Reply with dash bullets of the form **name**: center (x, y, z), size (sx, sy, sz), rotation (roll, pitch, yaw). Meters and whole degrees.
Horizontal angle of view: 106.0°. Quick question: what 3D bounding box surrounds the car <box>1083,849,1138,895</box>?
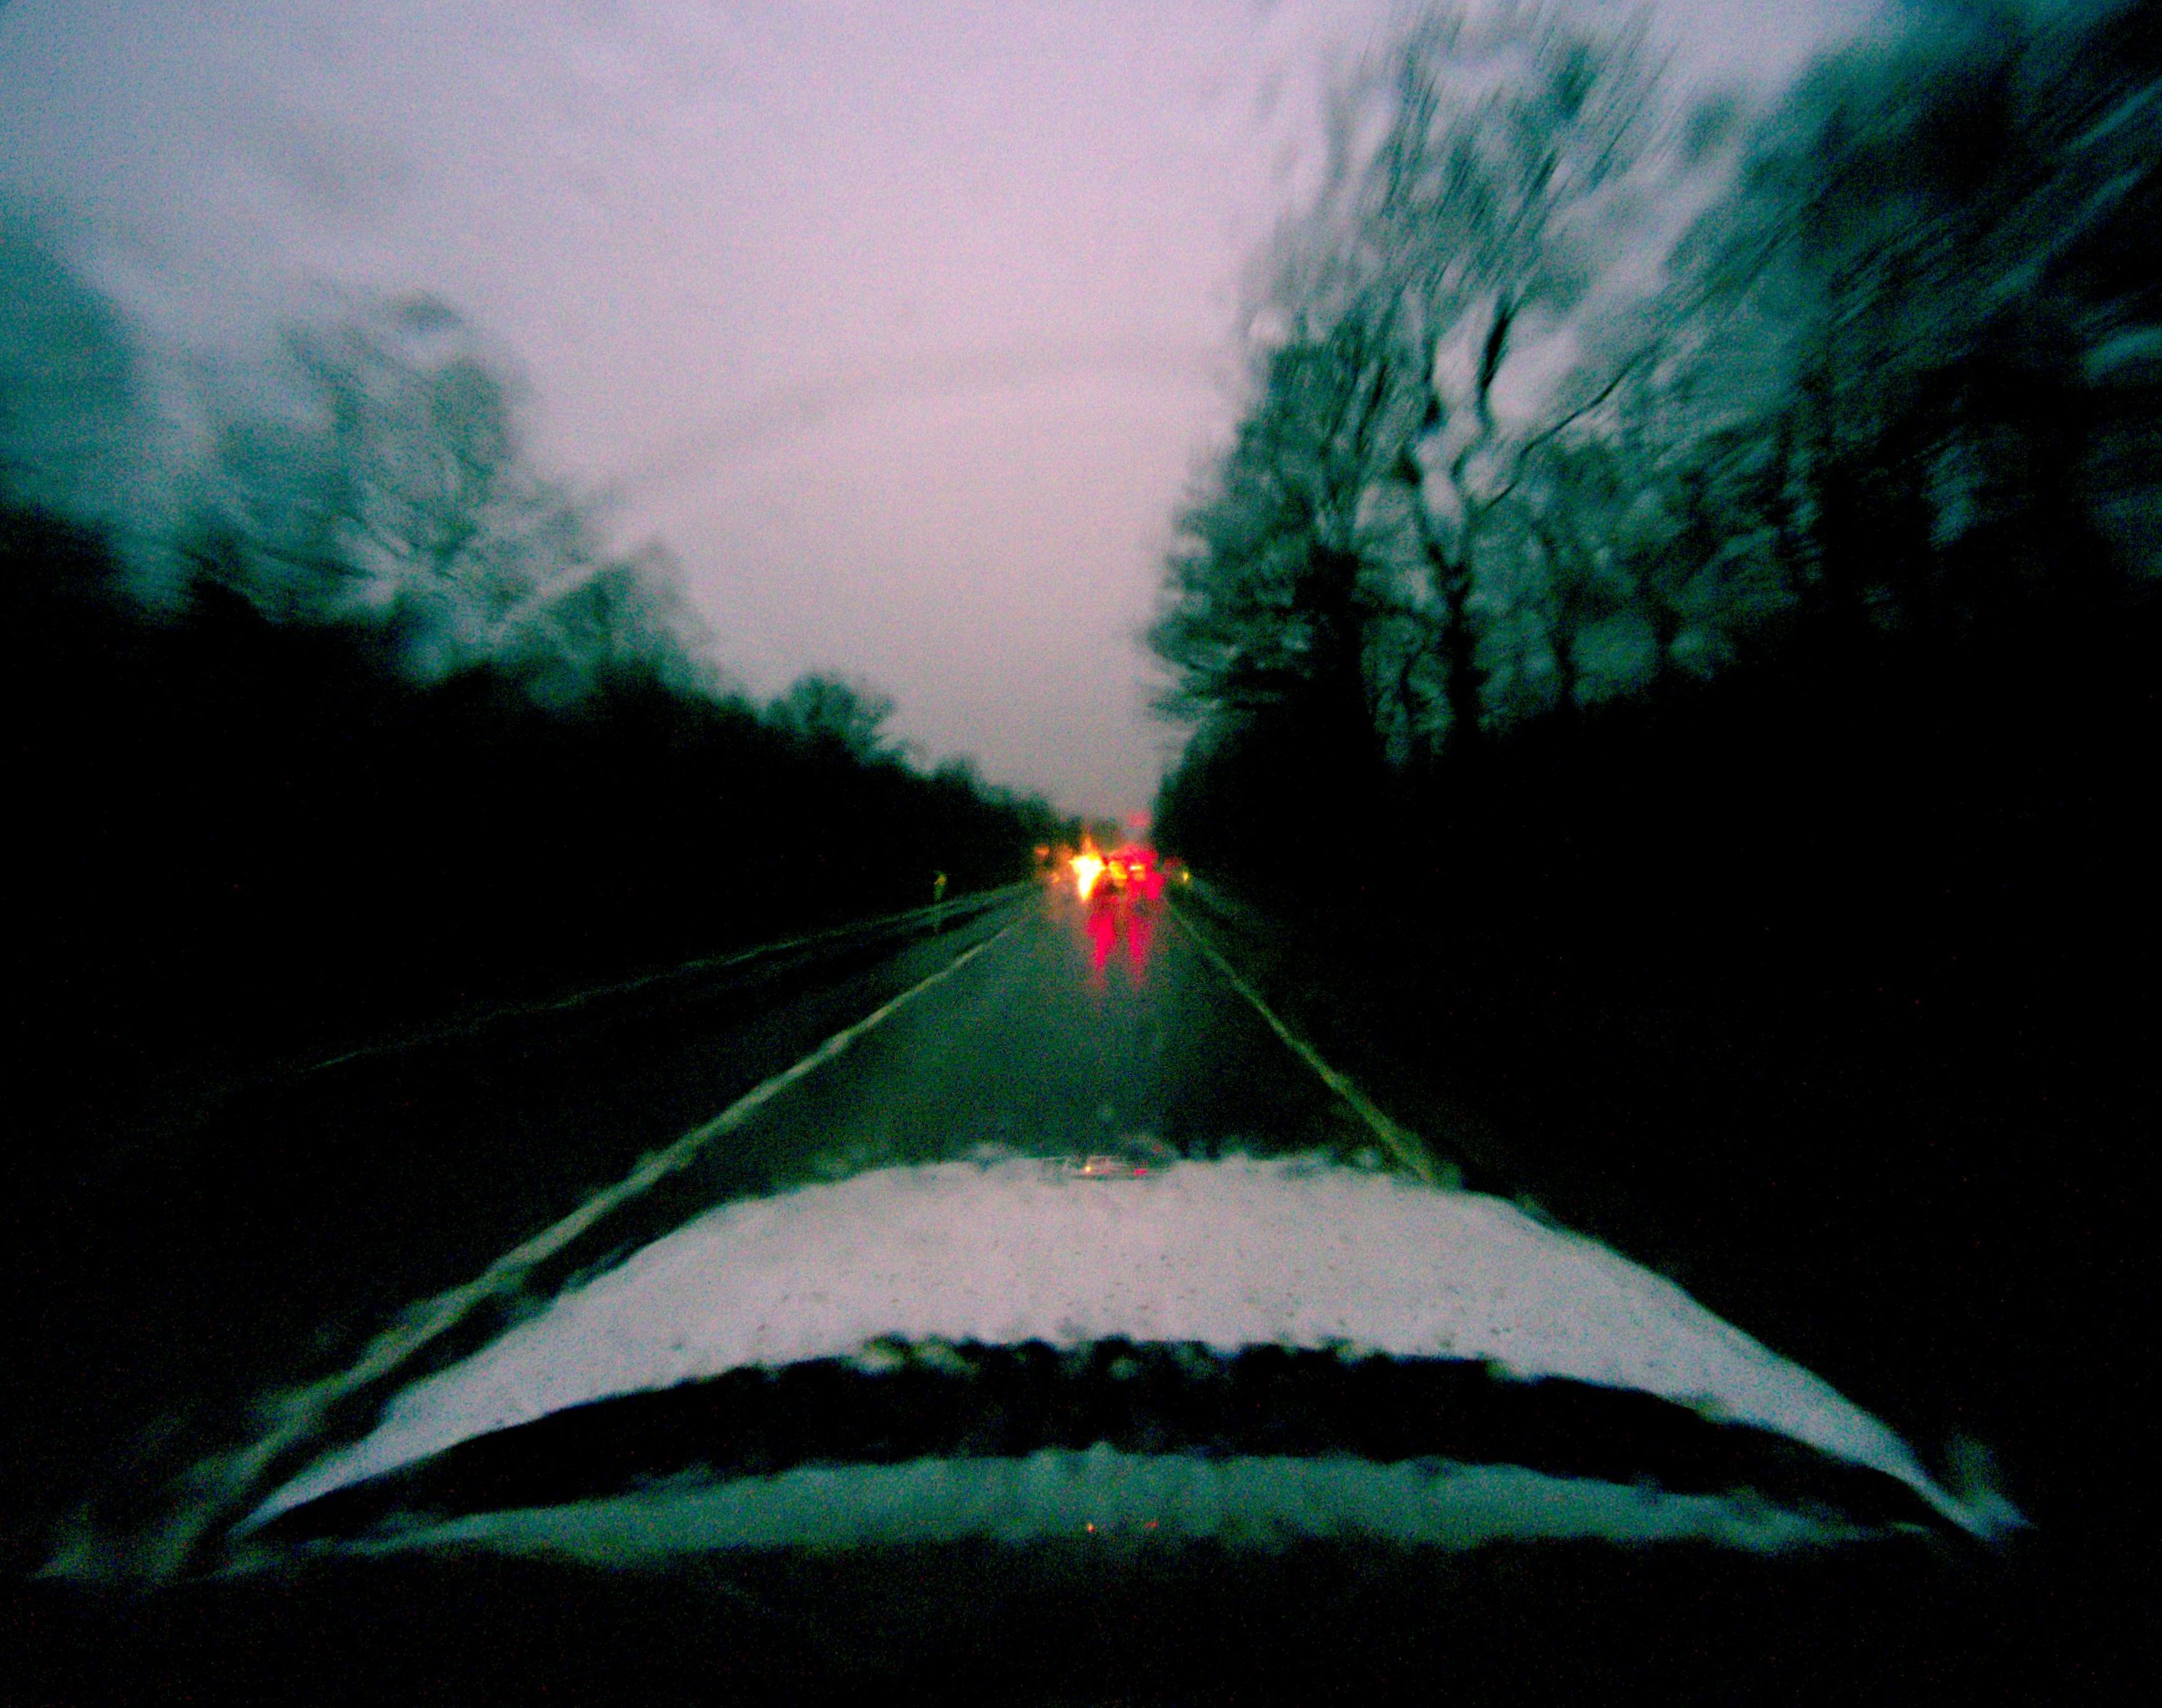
- **car**: center (1.041, 0.575, 27.481), size (1.671, 1.389, 4.102), rotation (-1, 0, 3)

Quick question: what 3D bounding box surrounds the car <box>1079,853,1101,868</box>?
- **car**: center (0.889, 0.633, 79.762), size (1.806, 1.438, 4.103), rotation (-1, 0, 4)
